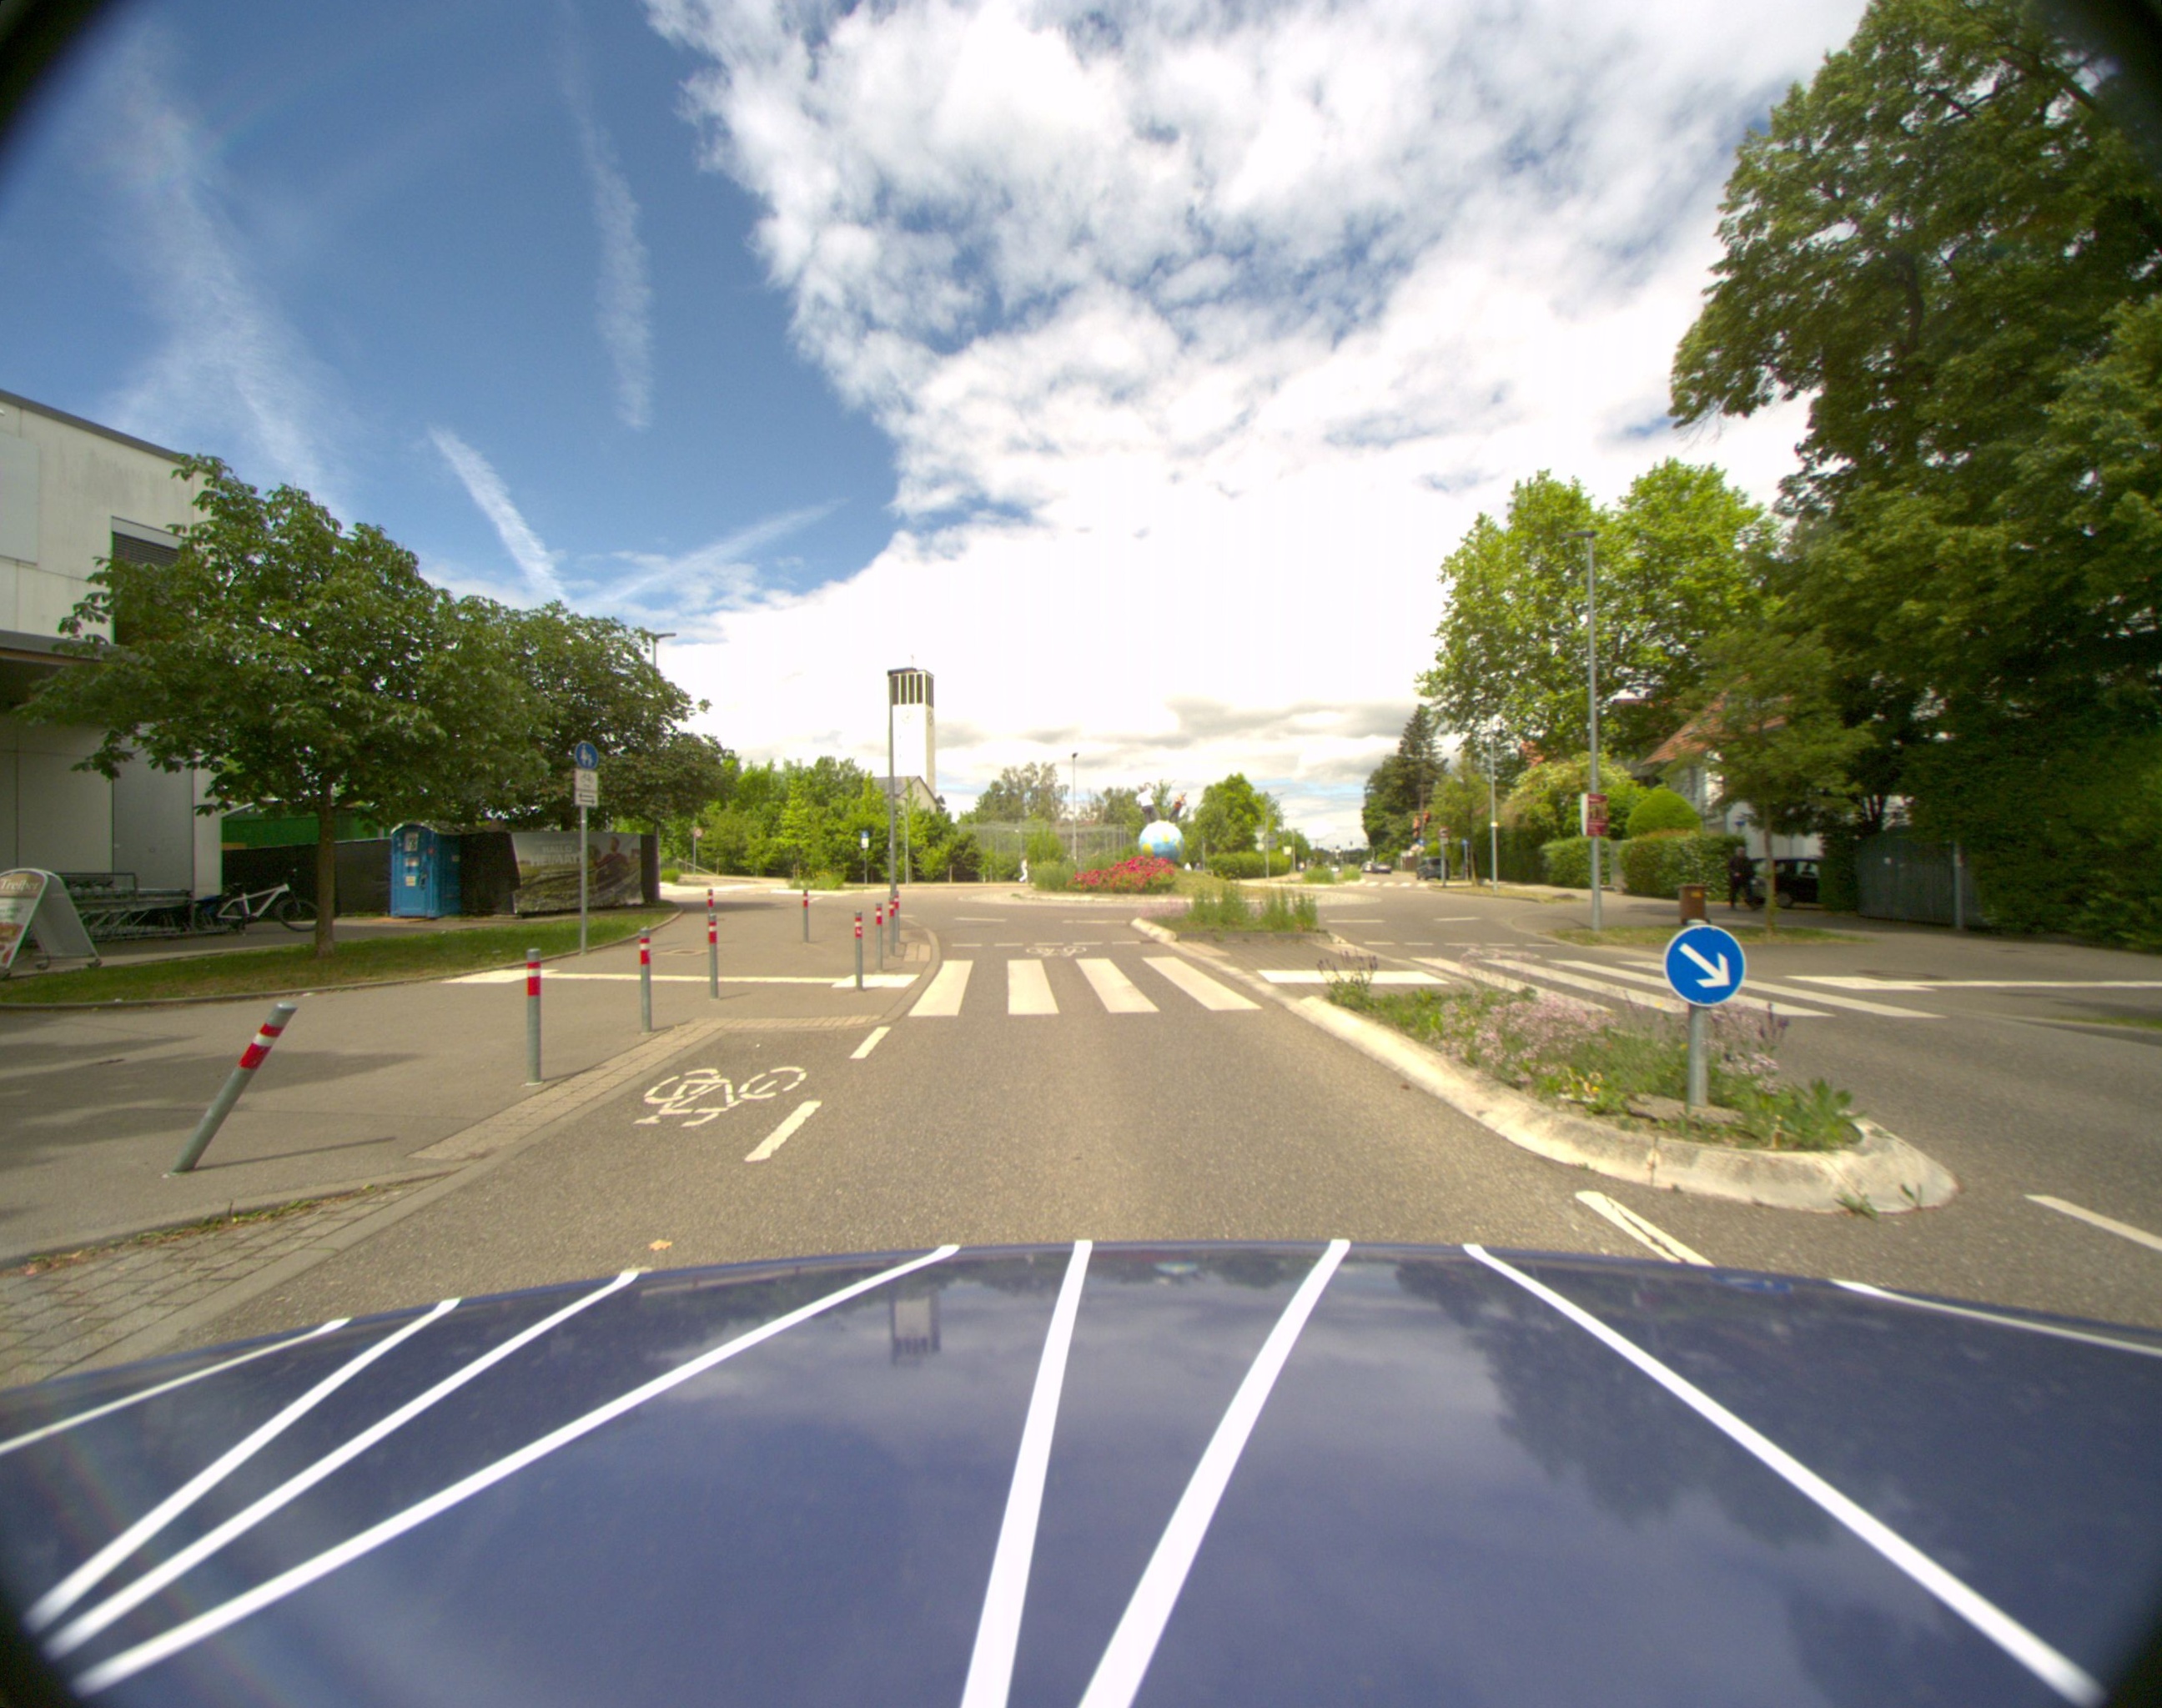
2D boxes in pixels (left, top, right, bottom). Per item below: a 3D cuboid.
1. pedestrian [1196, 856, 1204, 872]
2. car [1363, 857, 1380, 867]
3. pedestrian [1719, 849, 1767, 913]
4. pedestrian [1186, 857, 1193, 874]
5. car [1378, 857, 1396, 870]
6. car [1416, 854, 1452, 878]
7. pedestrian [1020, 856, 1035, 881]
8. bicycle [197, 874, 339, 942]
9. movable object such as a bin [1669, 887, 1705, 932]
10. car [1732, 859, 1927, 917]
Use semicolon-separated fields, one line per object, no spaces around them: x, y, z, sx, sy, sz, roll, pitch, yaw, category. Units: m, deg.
11.831;0.982;75.596;0.764;1.548;0.602;0;1;3;pedestrian
47.121;1.286;123.175;1.996;1.696;4.004;0;0;13;car
17.887;0.722;20.550;0.744;1.681;0.695;-1;1;19;pedestrian
10.786;1.105;75.612;0.608;1.687;0.566;-1;0;-7;pedestrian
37.631;1.144;93.491;1.860;1.568;4.005;-1;0;18;car
26.034;0.879;56.100;1.678;1.652;4.004;0;0;14;car
-3.292;0.884;47.019;0.457;1.524;0.965;-1;0;25;pedestrian
-16.107;1.039;15.099;1.774;1.227;0.714;-2;0;-16;bicycle
13.100;1.195;16.431;0.441;0.929;0.412;0;1;-10;movable object such as a bin
21.251;0.929;21.756;3.570;1.389;1.667;2;1;18;car
